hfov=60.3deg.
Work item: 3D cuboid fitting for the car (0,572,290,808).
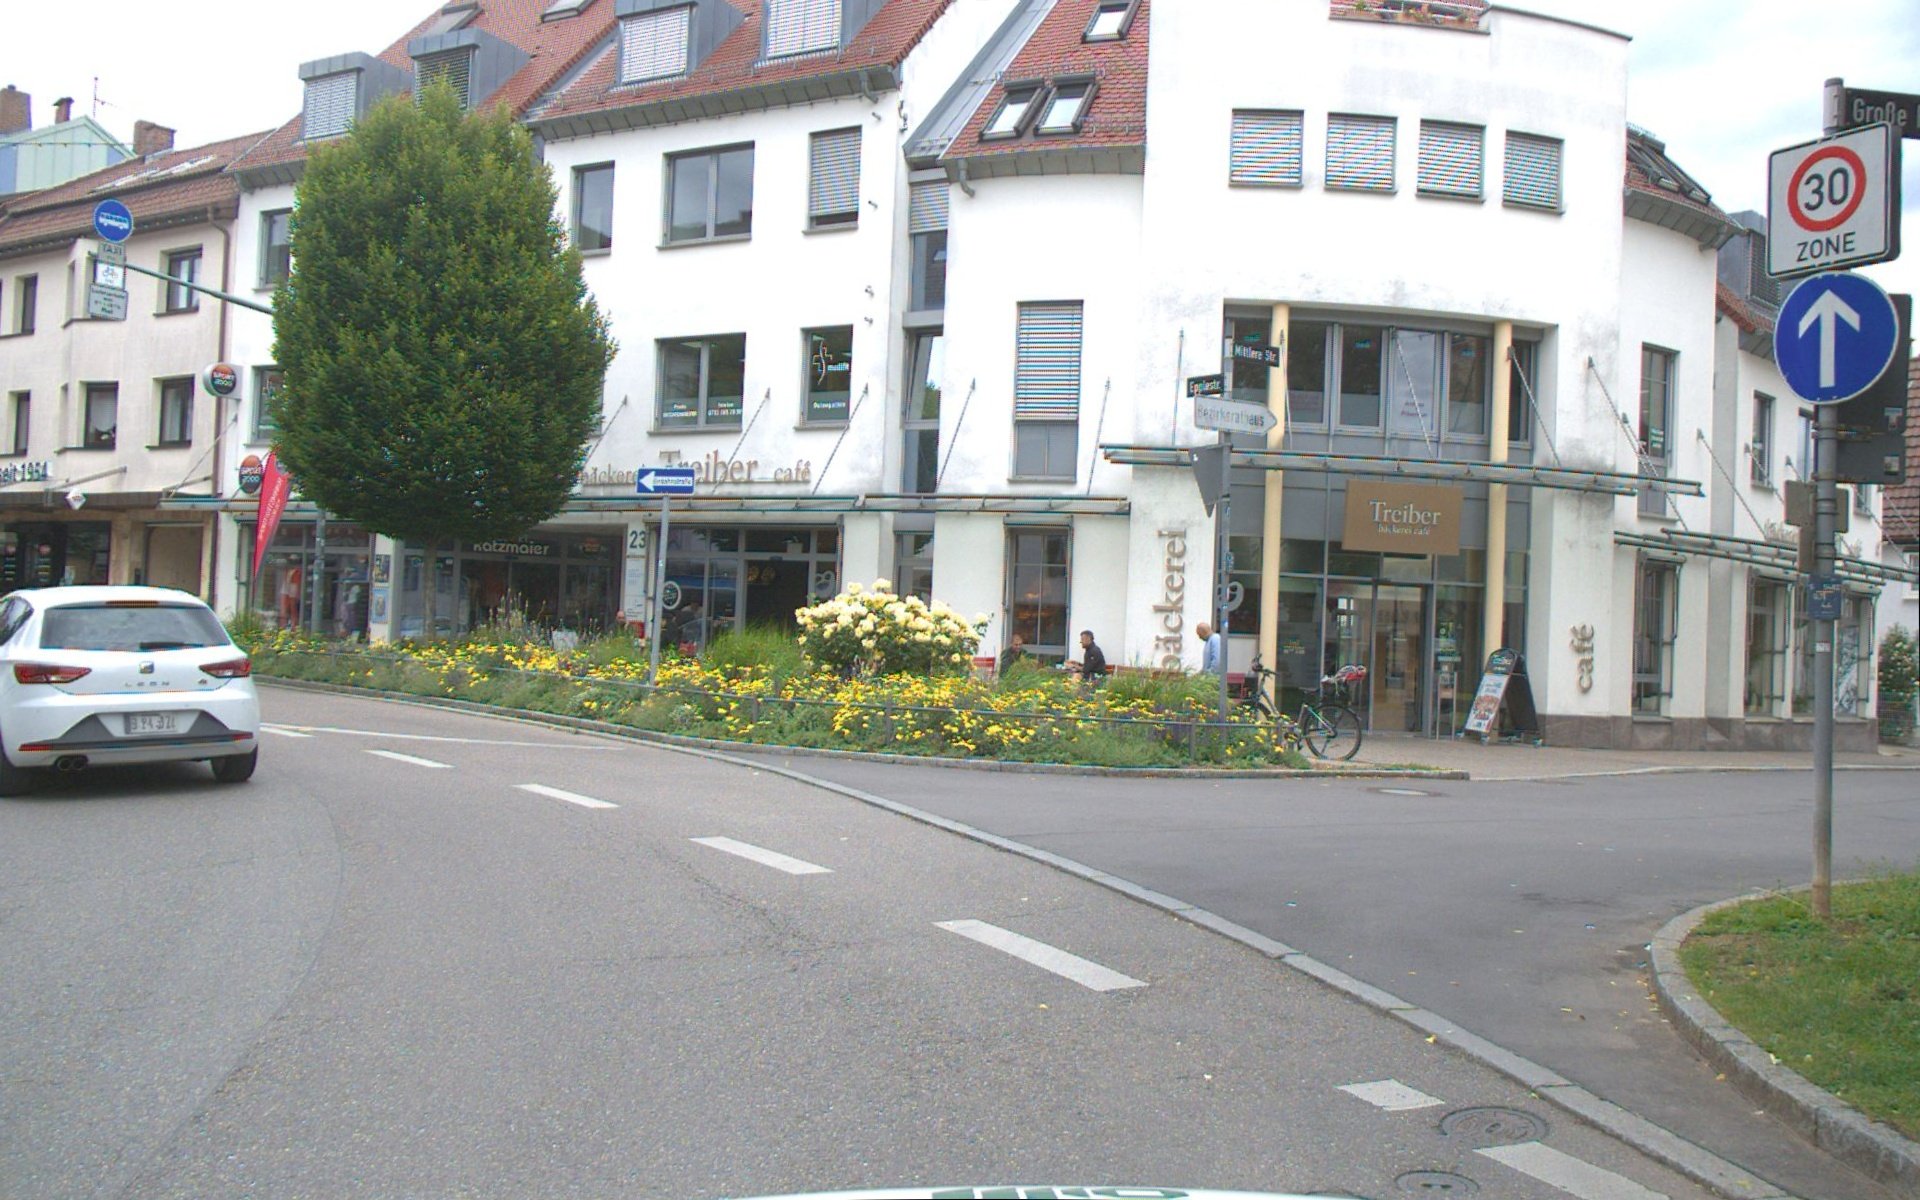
[{"bbox_3d":[-6.765,0.580,12.959,1.830,1.459,3.948,2,1,-37],"label":"car"}]

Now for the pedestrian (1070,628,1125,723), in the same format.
[{"bbox_3d":[2.043,1.104,24.561,0.641,1.365,0.696,2,-1,17],"label":"pedestrian"}]

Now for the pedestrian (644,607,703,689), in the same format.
[{"bbox_3d":[-4.861,0.815,28.078,0.556,1.341,0.763,2,-3,30],"label":"pedestrian"}]

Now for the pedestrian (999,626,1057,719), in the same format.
[{"bbox_3d":[1.030,1.079,24.979,0.686,1.355,0.685,2,-1,17],"label":"pedestrian"}]

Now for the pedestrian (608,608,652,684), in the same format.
[{"bbox_3d":[-5.743,0.796,28.787,0.481,1.293,0.501,2,-1,30],"label":"pedestrian"}]

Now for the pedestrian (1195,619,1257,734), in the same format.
[{"bbox_3d":[3.743,1.059,23.238,0.686,1.552,0.868,2,-1,17],"label":"pedestrian"}]

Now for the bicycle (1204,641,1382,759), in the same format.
[{"bbox_3d":[4.015,1.179,19.986,1.937,1.261,0.743,3,0,30],"label":"bicycle"}]
